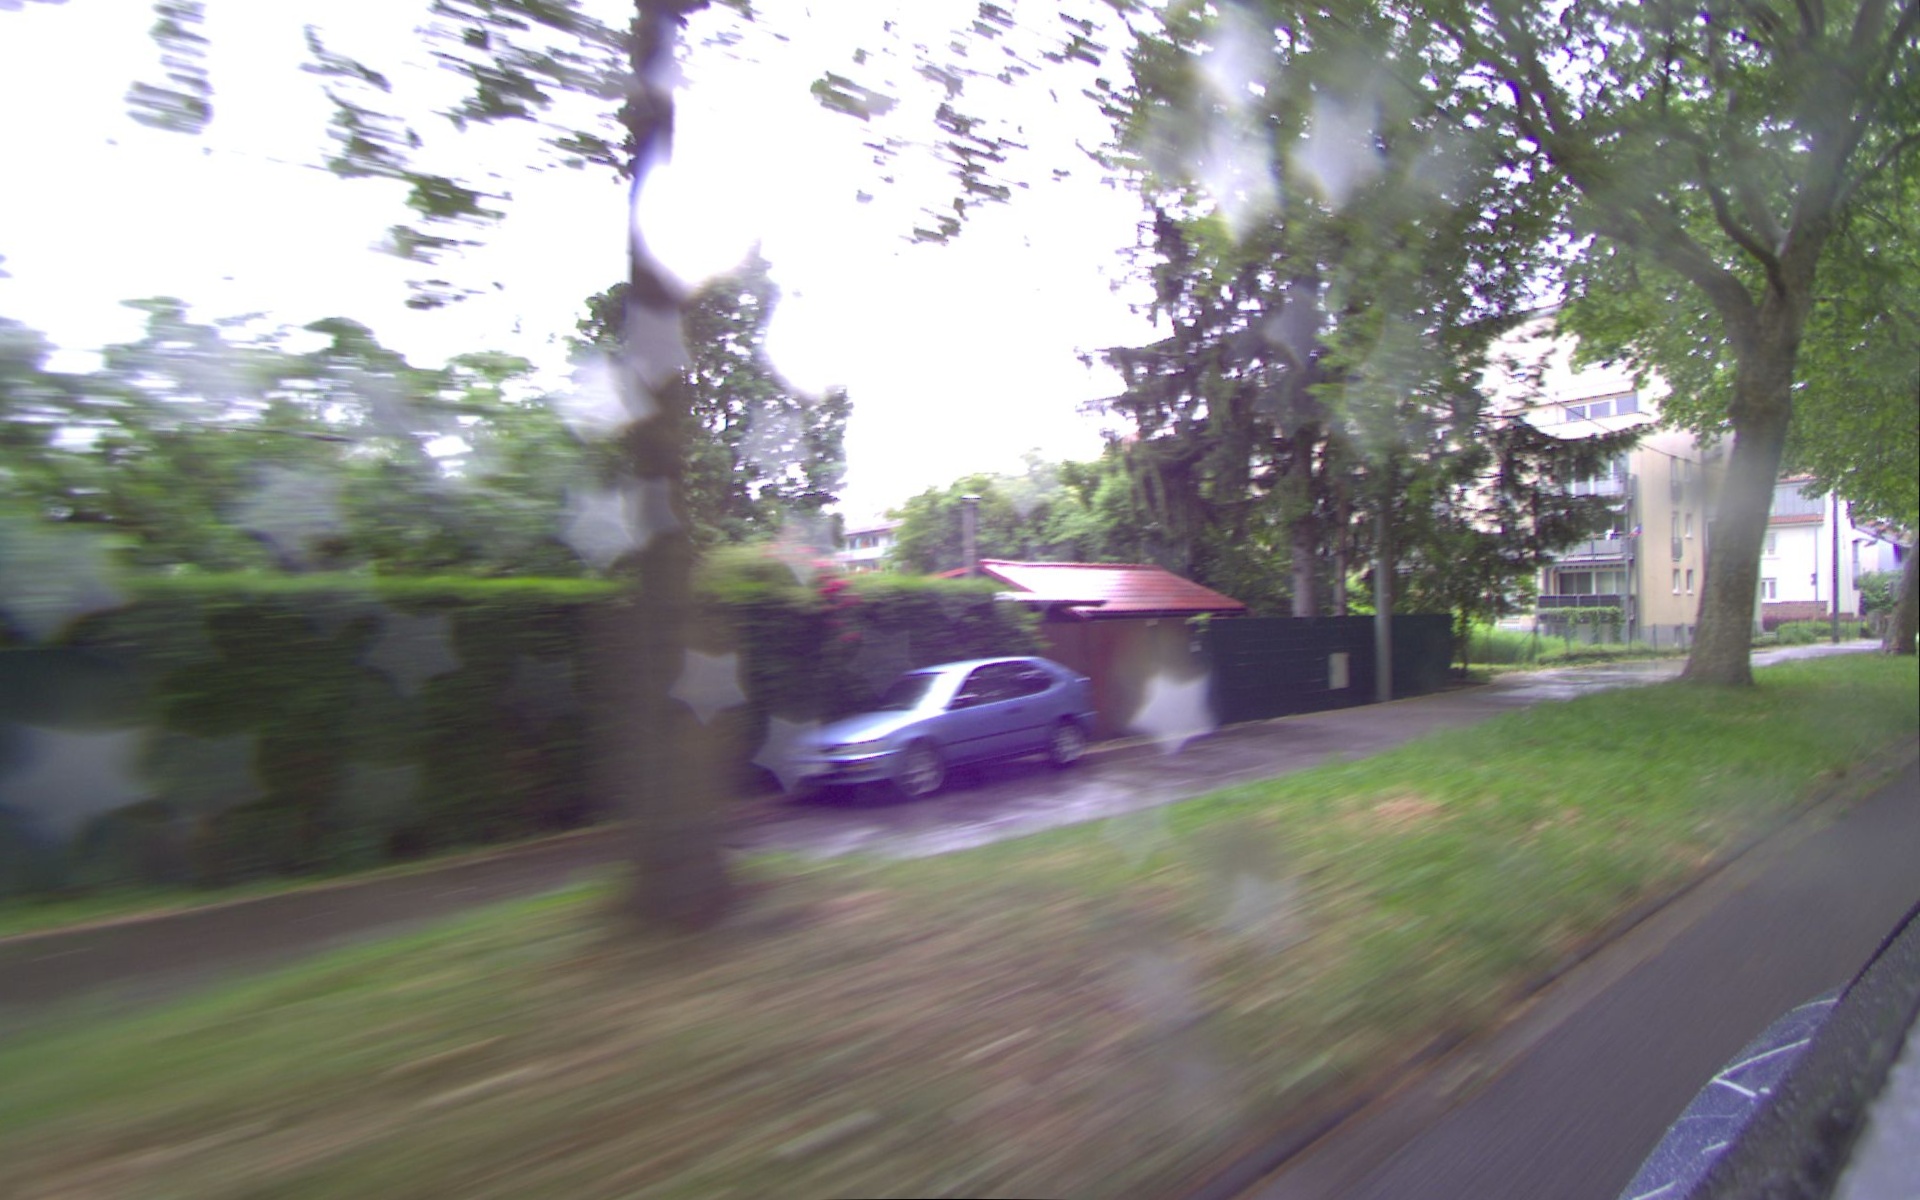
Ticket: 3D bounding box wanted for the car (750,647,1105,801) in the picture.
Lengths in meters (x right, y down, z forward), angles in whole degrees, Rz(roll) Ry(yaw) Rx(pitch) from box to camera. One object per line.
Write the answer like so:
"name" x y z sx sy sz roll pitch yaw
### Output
"car" -0.263 1.350 11.918 3.934 1.343 1.796 -1 -5 -44
